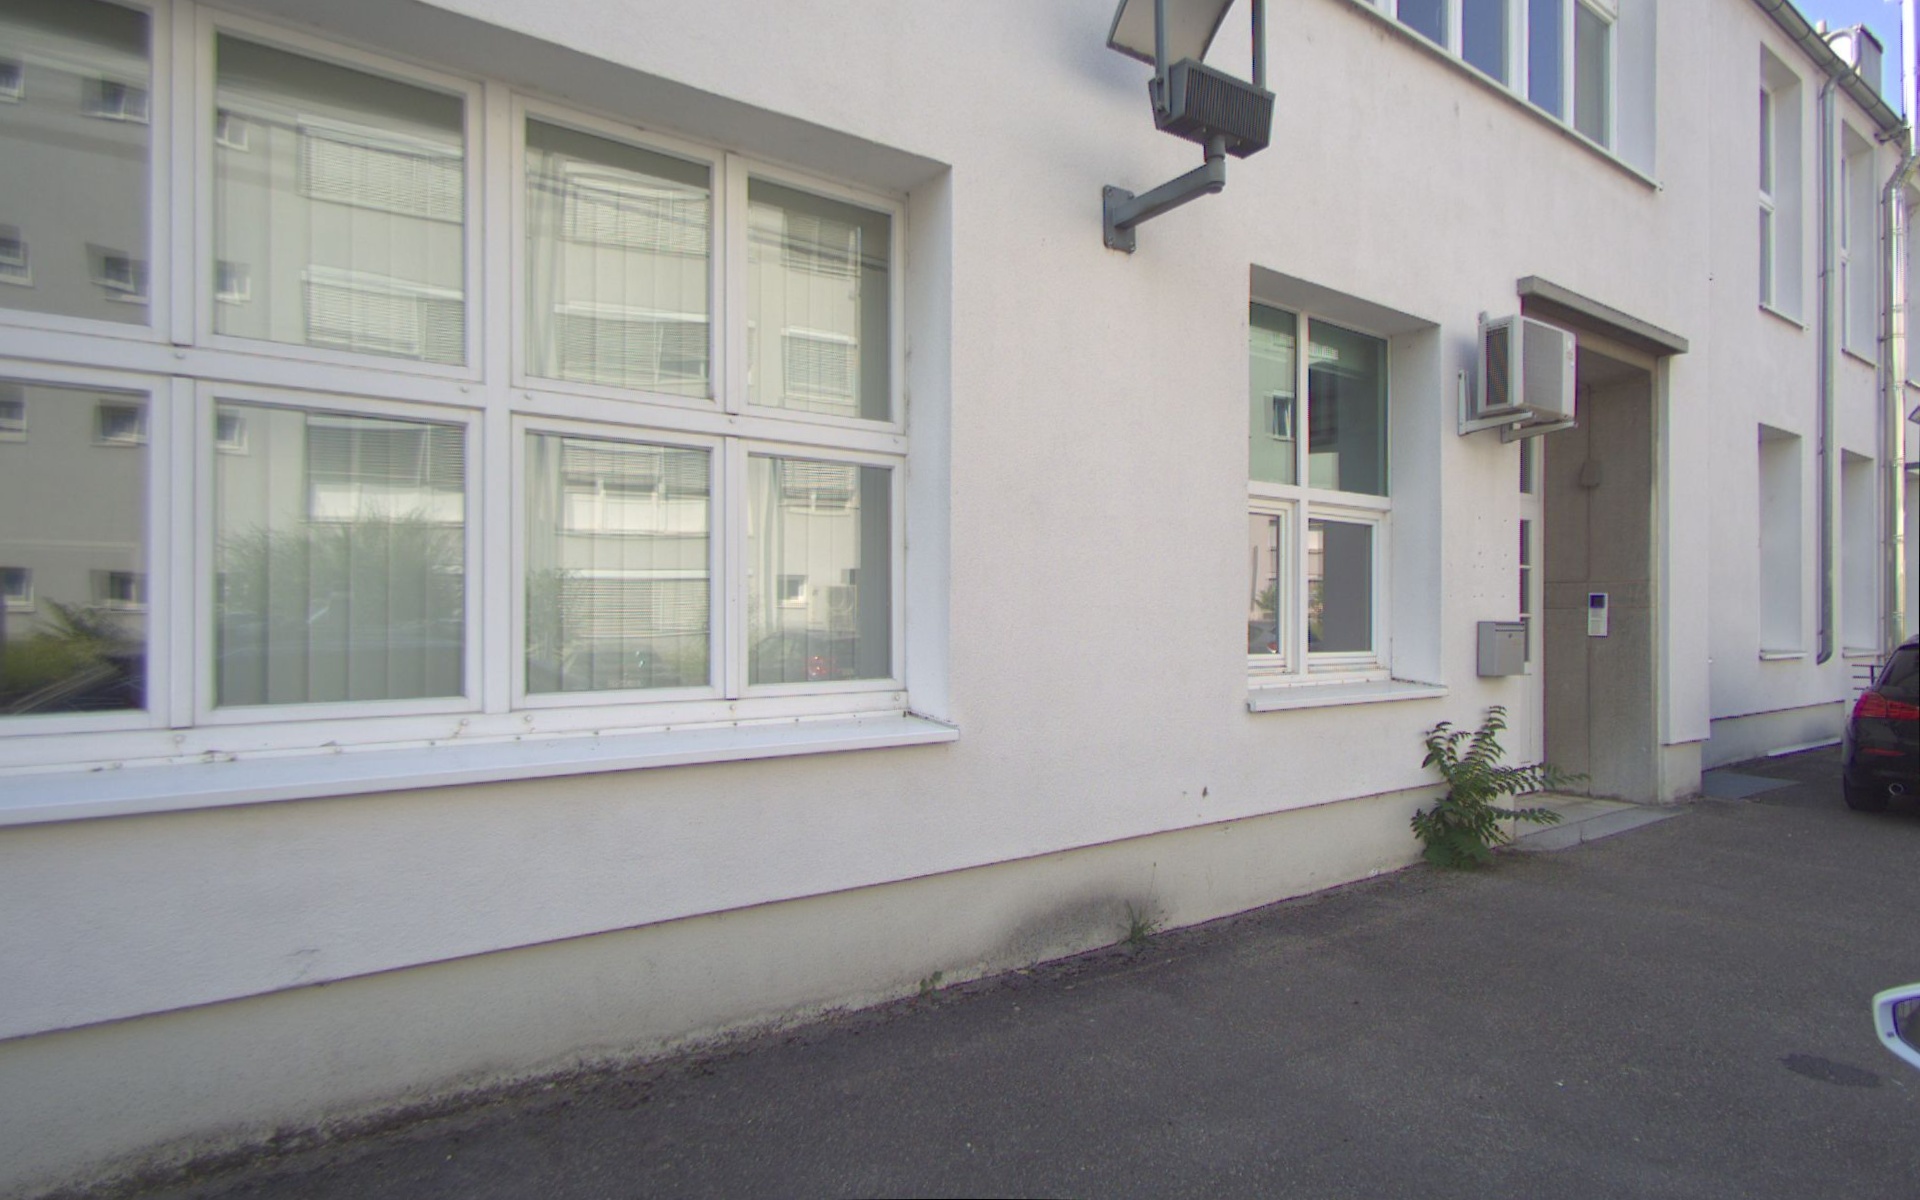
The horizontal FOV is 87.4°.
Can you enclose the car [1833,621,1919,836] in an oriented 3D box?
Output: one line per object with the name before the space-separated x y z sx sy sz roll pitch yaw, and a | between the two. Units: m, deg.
car | 8.428 0.934 7.827 3.886 1.478 1.676 2 -1 -37
